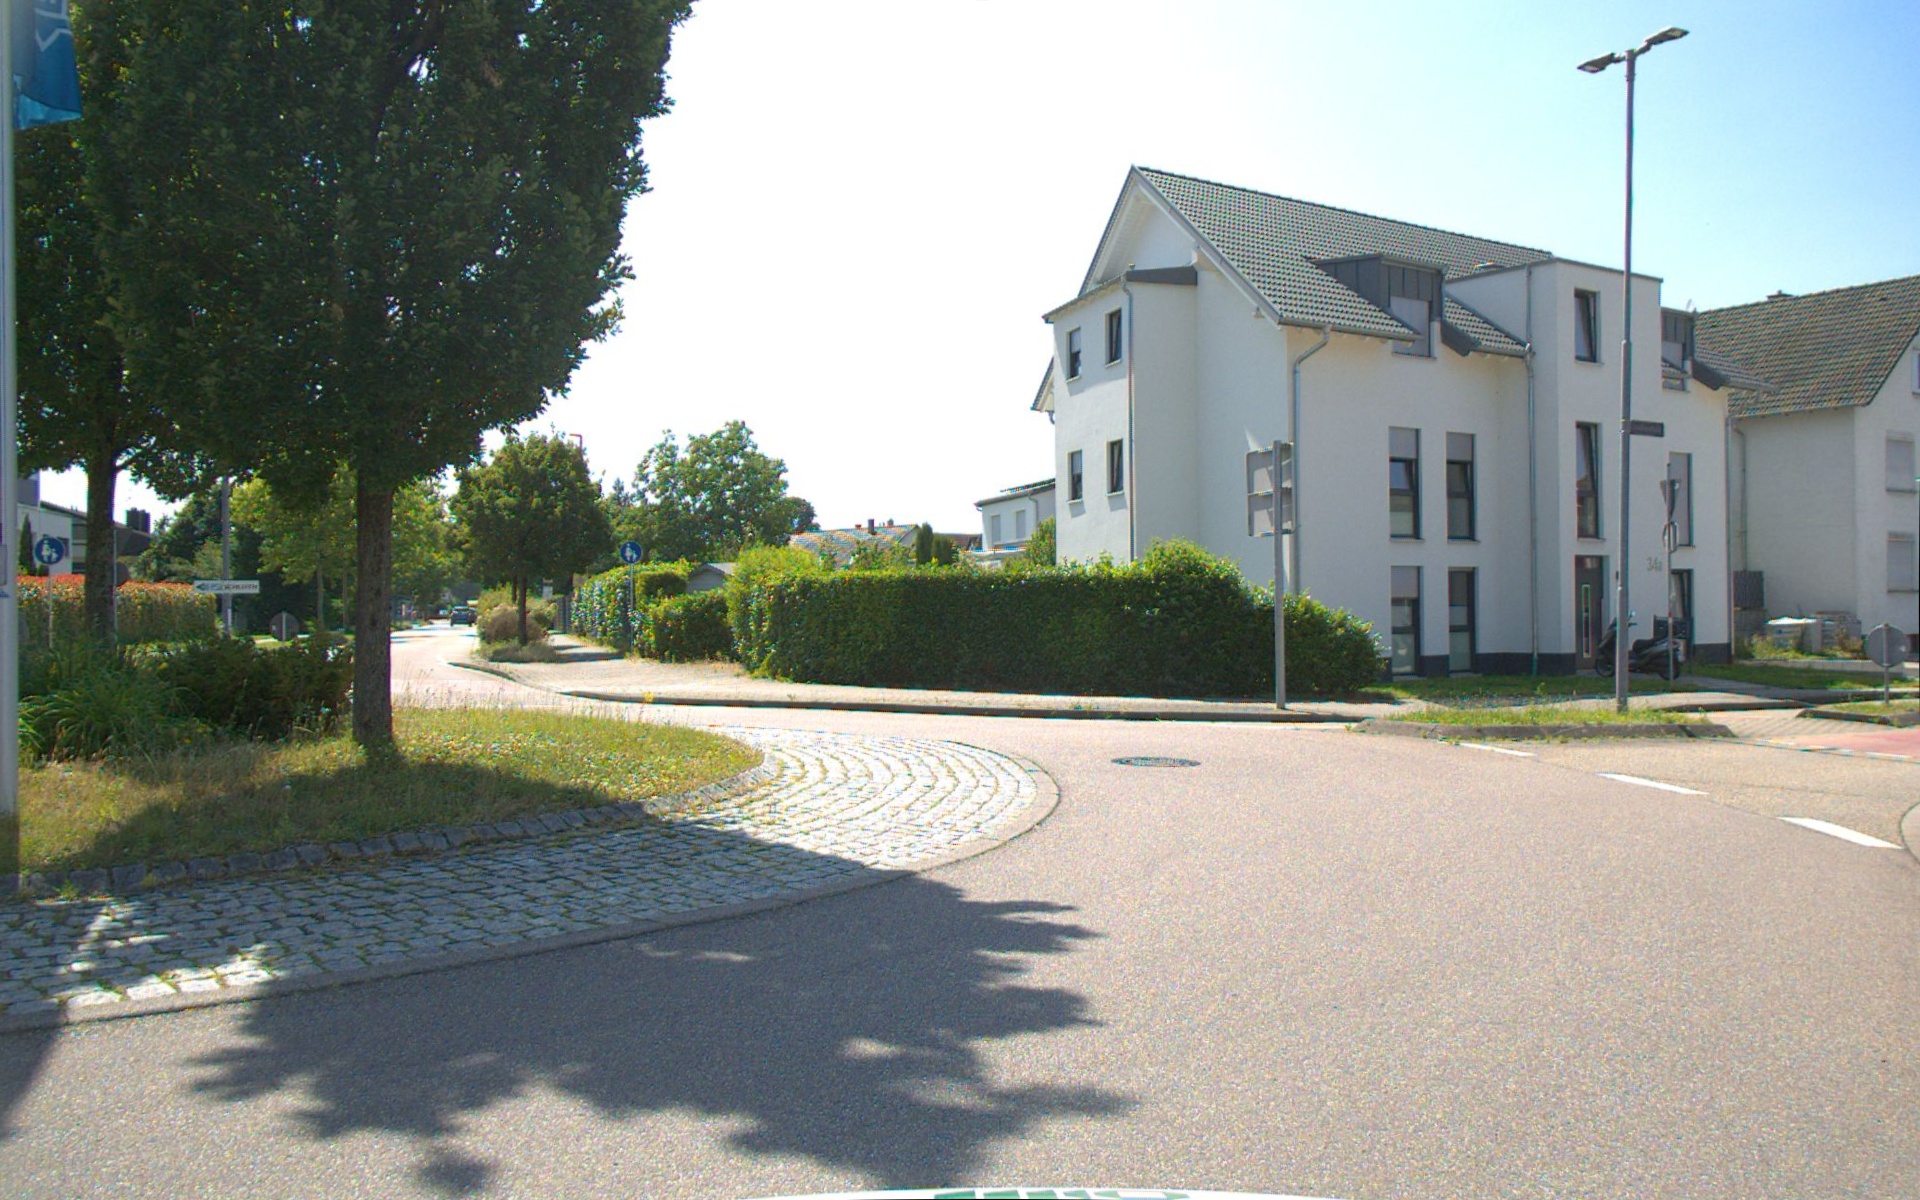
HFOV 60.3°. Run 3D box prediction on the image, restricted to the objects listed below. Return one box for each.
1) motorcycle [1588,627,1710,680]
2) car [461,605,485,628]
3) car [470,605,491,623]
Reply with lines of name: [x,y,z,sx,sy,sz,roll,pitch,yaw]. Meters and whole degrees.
motorcycle: [14.058,1.085,33.829,0.663,1.031,2.342,2,-1,-33]
car: [-41.310,1.385,140.234,1.892,1.919,3.982,1,-1,-16]
car: [-48.019,1.428,165.704,1.961,1.801,3.983,1,-1,-15]
